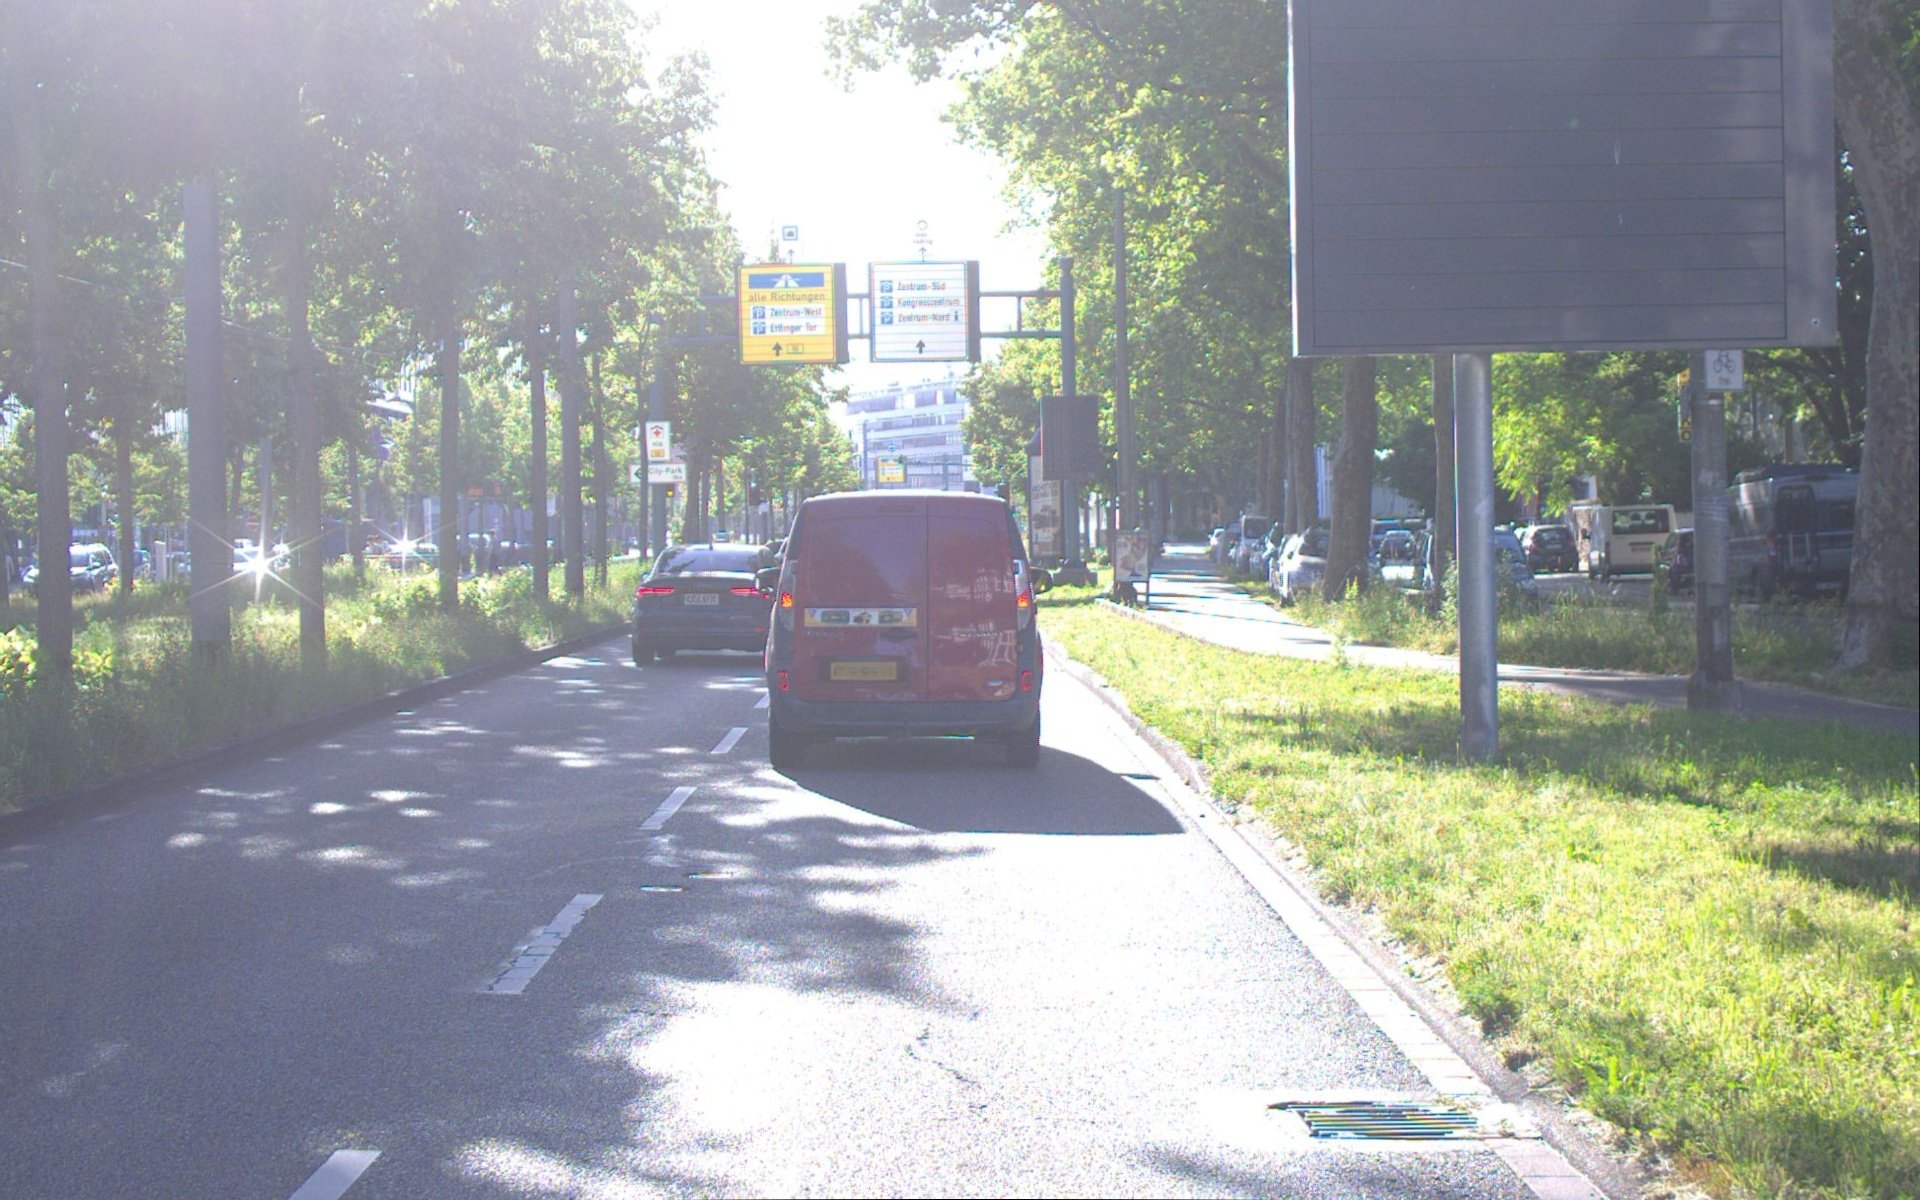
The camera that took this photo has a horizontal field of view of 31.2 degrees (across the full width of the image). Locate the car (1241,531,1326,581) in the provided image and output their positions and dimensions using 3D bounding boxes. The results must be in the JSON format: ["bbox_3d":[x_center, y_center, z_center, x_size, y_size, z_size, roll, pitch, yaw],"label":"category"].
[{"bbox_3d":[8.787,-1.192,93.614,1.993,1.285,4.053,1,1,1],"label":"car"}]

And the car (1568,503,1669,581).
[{"bbox_3d":[17.443,-1.545,91.269,2.087,2.007,4.942,0,1,4],"label":"car"}]

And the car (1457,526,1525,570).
[{"bbox_3d":[20.194,-1.971,130.943,1.993,1.634,4.000,1,1,1],"label":"car"}]

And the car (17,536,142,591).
[{"bbox_3d":[-23.753,-0.986,92.888,1.994,1.436,4.702,1,1,2],"label":"car"}]

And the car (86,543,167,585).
[{"bbox_3d":[-32.865,-1.418,135.709,1.993,1.603,4.611,1,1,1],"label":"car"}]

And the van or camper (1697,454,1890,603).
[{"bbox_3d":[16.343,-1.421,67.813,2.557,2.675,6.564,-3,1,4],"label":"van or camper"}]

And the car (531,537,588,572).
[{"bbox_3d":[-18.806,-2.153,161.551,1.994,1.566,4.166,0,1,2],"label":"car"}]

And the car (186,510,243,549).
[{"bbox_3d":[-39.679,-3.751,183.075,1.993,2.007,4.563,1,1,1],"label":"car"}]

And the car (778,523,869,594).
[{"bbox_3d":[-3.234,-0.978,81.973,1.993,1.612,4.000,1,1,0],"label":"car"}]

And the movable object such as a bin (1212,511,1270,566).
[{"bbox_3d":[10.452,-2.289,127.936,2.081,2.007,2.136,1,0,4],"label":"movable object such as a bin"}]

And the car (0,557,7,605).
[{"bbox_3d":[-33.166,-0.649,113.868,1.879,1.615,4.611,1,1,1],"label":"car"}]

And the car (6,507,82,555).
[{"bbox_3d":[-39.852,-2.971,149.688,1.993,2.007,4.563,1,1,1],"label":"car"}]

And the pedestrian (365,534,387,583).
[{"bbox_3d":[-18.225,-1.297,107.301,0.550,1.513,0.588,1,0,5],"label":"pedestrian"}]

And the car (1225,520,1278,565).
[{"bbox_3d":[9.967,-1.944,117.646,1.662,1.495,2.989,1,1,2],"label":"car"}]

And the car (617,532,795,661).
[{"bbox_3d":[-2.945,-0.063,40.556,1.792,1.423,4.000,1,1,0],"label":"car"}]

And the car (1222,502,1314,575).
[{"bbox_3d":[8.826,-1.746,99.055,2.190,2.007,5.820,1,1,1],"label":"car"}]

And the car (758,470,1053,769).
[{"bbox_3d":[-0.451,0.101,23.383,1.808,1.831,4.001,1,1,-3],"label":"car"}]

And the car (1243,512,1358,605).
[{"bbox_3d":[6.139,-0.746,62.292,1.793,1.555,4.020,3,1,3],"label":"car"}]

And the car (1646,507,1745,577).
[{"bbox_3d":[16.626,-1.309,77.891,1.690,1.467,3.757,-3,1,5],"label":"car"}]
